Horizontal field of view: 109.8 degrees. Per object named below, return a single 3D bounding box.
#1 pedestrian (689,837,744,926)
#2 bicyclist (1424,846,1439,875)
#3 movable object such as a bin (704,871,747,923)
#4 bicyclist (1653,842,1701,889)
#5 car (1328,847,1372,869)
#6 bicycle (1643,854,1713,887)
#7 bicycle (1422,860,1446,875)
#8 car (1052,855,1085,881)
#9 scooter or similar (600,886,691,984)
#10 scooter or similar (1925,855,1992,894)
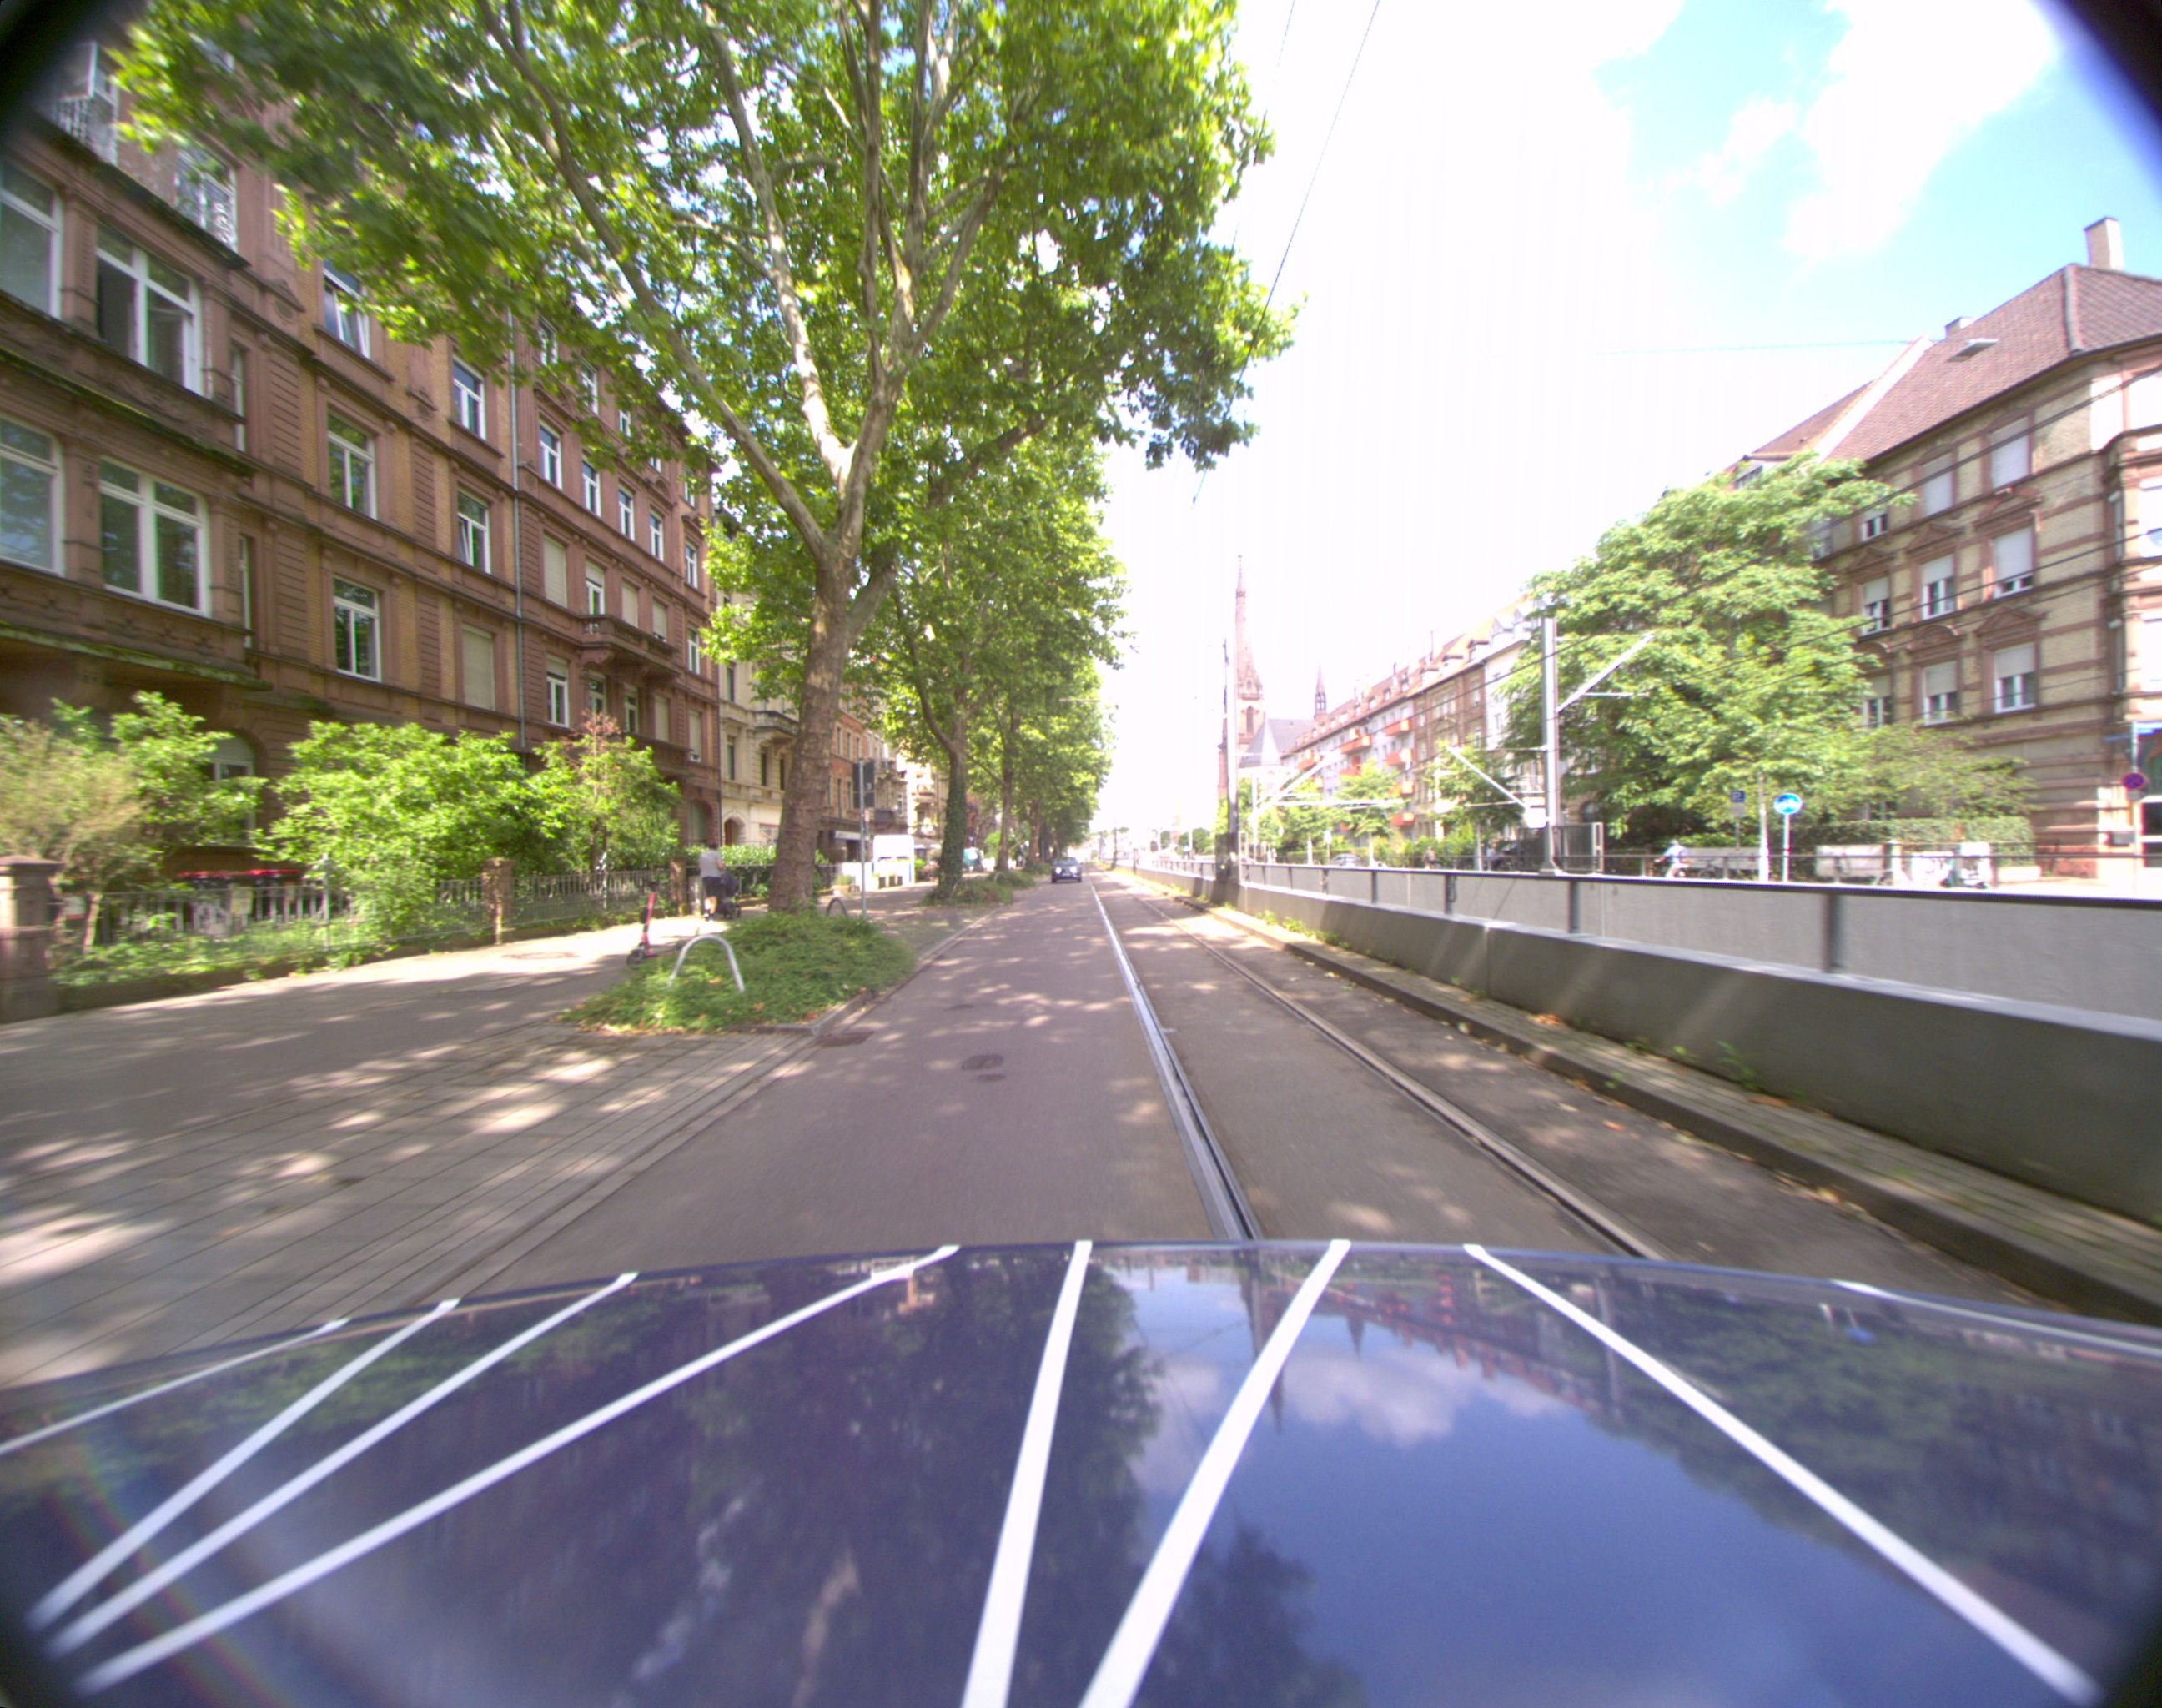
[{"bbox_3d":[-8.499,0.636,17.766,0.766,2.002,1.119,1,0,-4],"label":"pedestrian"},{"bbox_3d":[19.067,0.358,41.330,0.505,1.535,0.607,-1,1,0],"label":"bicyclist"},{"bbox_3d":[-8.628,1.035,18.449,0.609,1.202,1.058,1,0,-5],"label":"movable object such as a bin"},{"bbox_3d":[18.927,0.347,24.146,0.740,1.470,0.978,0,0,0],"label":"bicyclist"},{"bbox_3d":[21.202,0.336,60.043,1.998,1.628,4.113,-1,0,0],"label":"car"},{"bbox_3d":[18.961,0.503,24.180,0.727,0.990,1.898,0,0,0],"label":"bicycle"},{"bbox_3d":[19.235,0.743,41.441,0.497,0.764,1.816,-1,0,0],"label":"bicycle"},{"bbox_3d":[-0.712,0.823,46.254,1.799,1.454,4.567,-1,0,1],"label":"car"},{"bbox_3d":[-5.980,1.084,10.504,0.468,1.204,1.323,-1,0,0],"label":"scooter or similar"},{"bbox_3d":[24.969,0.564,21.647,0.377,1.076,1.288,-4,0,0],"label":"scooter or similar"}]
